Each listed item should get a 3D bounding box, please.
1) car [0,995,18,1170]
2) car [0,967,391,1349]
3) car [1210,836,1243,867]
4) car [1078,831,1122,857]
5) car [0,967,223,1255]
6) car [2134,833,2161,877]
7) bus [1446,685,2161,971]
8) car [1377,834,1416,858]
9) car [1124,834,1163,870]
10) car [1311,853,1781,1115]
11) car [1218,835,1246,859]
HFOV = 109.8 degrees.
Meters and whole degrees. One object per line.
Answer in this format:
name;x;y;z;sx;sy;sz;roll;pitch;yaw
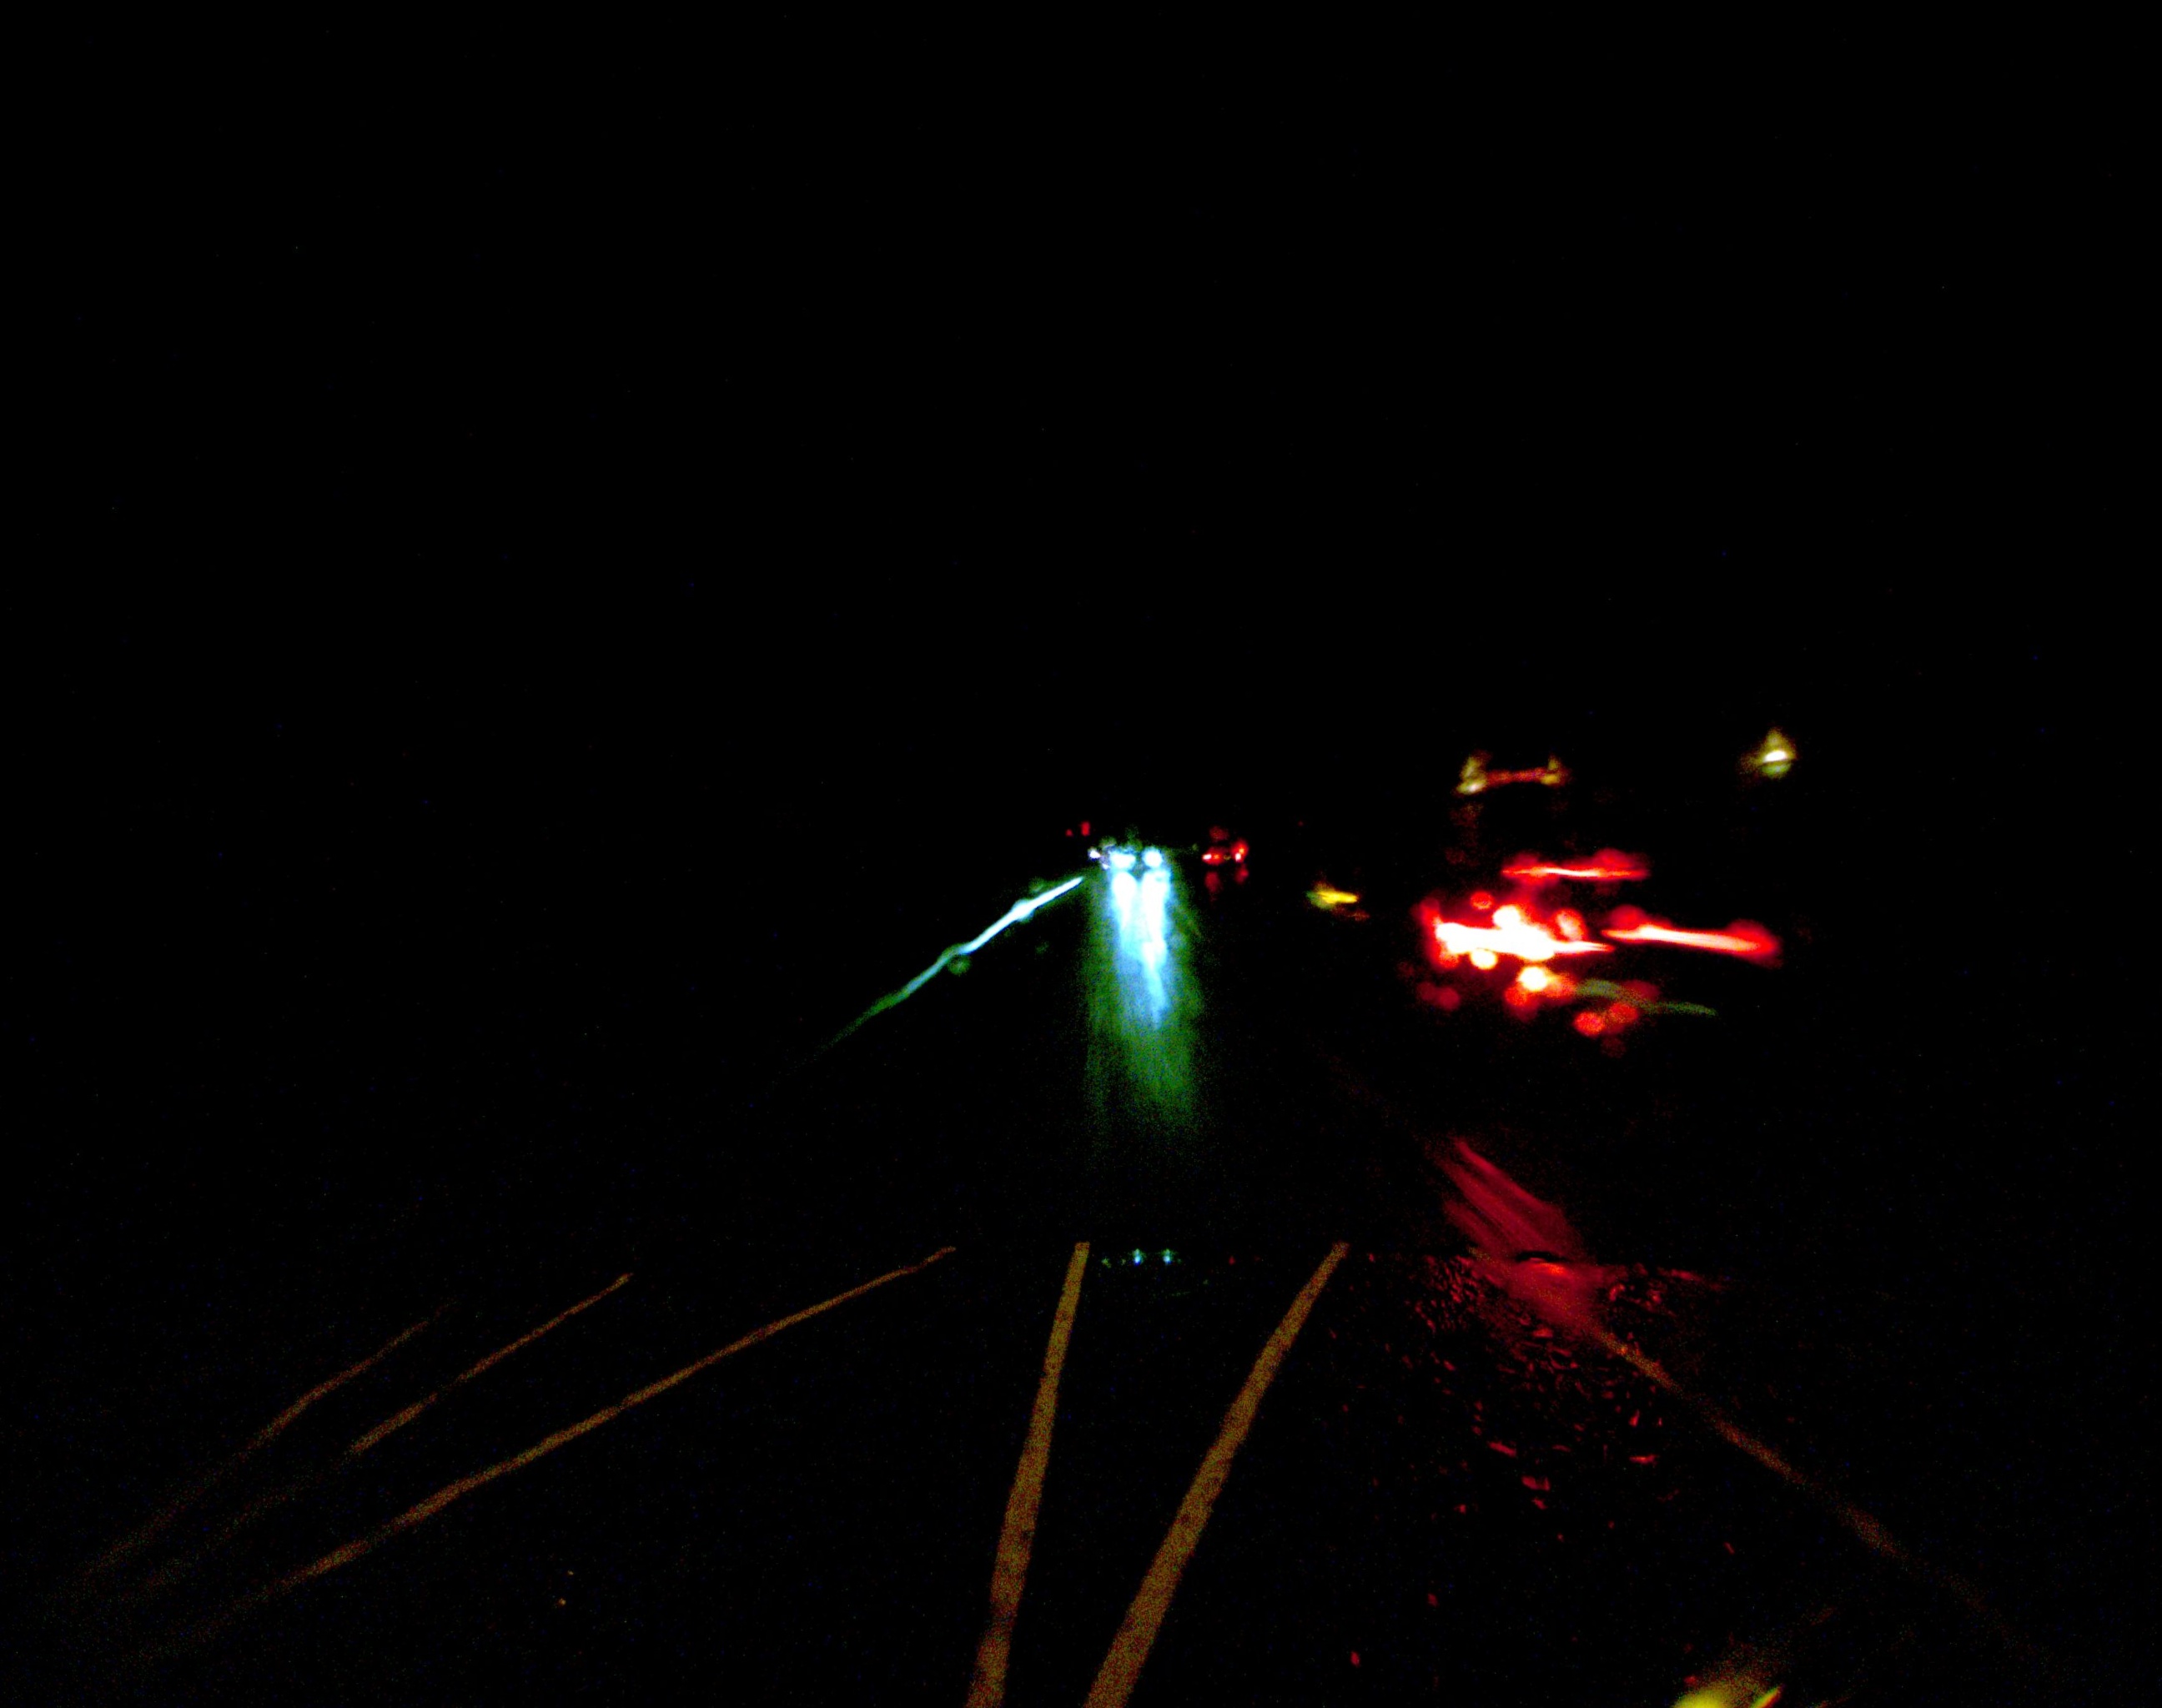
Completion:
car;-10.560;1.999;5.063;1.638;1.502;3.678;0;0;10
car;-5.501;1.455;3.125;1.638;1.390;3.677;-2;1;9
car;8.156;-0.187;42.861;1.698;1.590;3.802;-1;2;9
car;1.387;-0.780;56.684;1.962;1.682;4.767;-4;3;-14
car;-7.741;1.720;4.259;1.638;1.610;3.538;0;0;10
car;35.903;0.137;23.787;1.856;1.391;4.045;2;5;30
bus;14.085;-0.496;16.920;2.904;3.847;13.039;-3;2;-15
car;20.701;-0.539;49.716;1.689;1.390;4.157;2;3;31
car;3.496;-0.156;41.826;1.958;1.712;4.000;-1;3;7
car;3.453;0.793;6.699;1.639;1.502;4.116;0;2;1
car;10.507;-0.493;52.690;1.715;1.468;3.871;-3;2;12
